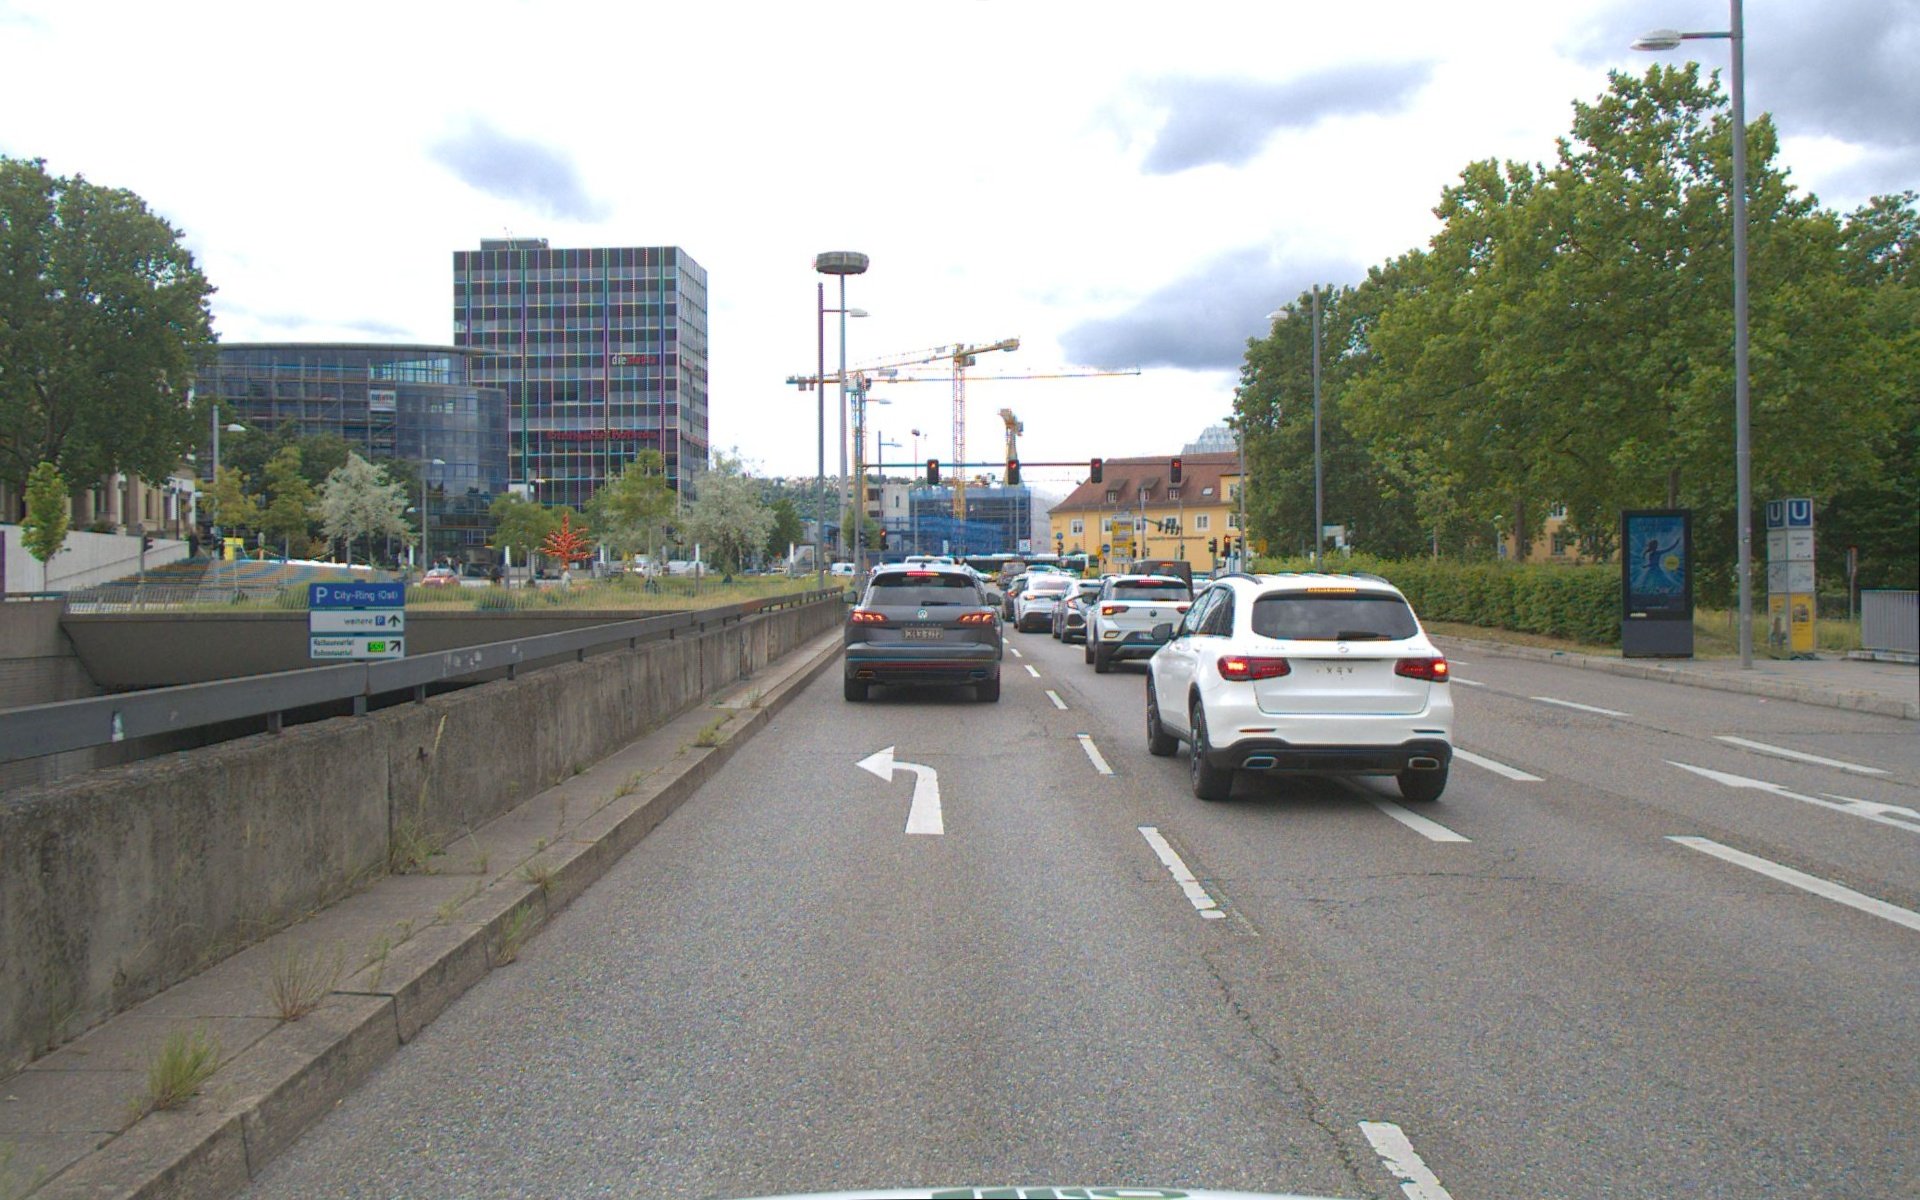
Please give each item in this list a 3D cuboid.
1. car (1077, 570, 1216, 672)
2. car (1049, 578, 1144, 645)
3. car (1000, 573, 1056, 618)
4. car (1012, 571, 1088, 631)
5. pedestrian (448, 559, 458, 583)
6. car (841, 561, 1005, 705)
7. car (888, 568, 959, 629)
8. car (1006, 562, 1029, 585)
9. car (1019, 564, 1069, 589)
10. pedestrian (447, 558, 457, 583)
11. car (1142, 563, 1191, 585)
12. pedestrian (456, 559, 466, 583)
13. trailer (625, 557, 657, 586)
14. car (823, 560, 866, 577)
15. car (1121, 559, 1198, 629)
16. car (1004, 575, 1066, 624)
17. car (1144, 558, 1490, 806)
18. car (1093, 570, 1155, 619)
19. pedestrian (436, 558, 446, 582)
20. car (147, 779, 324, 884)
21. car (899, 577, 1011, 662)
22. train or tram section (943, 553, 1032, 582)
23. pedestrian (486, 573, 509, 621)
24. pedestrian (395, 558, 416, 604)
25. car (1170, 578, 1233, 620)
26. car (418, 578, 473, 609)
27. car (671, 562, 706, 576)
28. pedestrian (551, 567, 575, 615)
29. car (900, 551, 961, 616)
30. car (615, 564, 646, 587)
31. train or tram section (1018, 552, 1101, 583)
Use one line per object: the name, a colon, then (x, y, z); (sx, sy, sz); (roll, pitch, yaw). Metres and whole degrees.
car: (3.072, 0.321, 28.147); (1.887, 1.578, 4.490); (1, 0, 0)
car: (3.134, 0.237, 38.775); (1.887, 1.457, 4.490); (1, 0, 0)
car: (2.452, -0.173, 60.597); (1.887, 1.556, 4.048); (1, 0, 0)
car: (2.417, 0.016, 45.488); (1.887, 1.556, 4.490); (1, 0, 0)
pedestrian: (-44.013, -2.530, 143.651); (0.728, 2.048, 0.788); (-1, 2, -21)
car: (-0.462, 0.355, 21.345); (1.912, 1.680, 3.999); (0, 1, -1)
car: (-1.050, -0.077, 47.457); (1.912, 1.627, 3.930); (2, 1, -1)
car: (4.440, -2.041, 127.890); (1.586, 1.656, 4.000); (2, 0, 0)
car: (7.439, -2.068, 146.556); (3.916, 2.049, 1.994); (1, -1, 33)
pedestrian: (-43.505, -2.529, 141.613); (0.728, 2.048, 0.788); (-1, 2, -21)
car: (20.406, -2.540, 163.590); (4.367, 2.049, 1.994); (1, -1, 33)
pedestrian: (-43.182, -2.500, 143.136); (0.728, 2.048, 1.108); (-1, 2, -21)
trailer: (-30.143, -2.690, 156.582); (1.996, 2.650, 5.508); (2, 2, -1)
car: (-11.504, -3.126, 164.525); (4.029, 1.638, 1.823); (1, -1, 35)
car: (6.184, -0.190, 51.648); (1.871, 2.049, 4.012); (2, 0, 0)
car: (2.431, -0.028, 54.309); (1.887, 1.556, 4.048); (1, 0, 0)
car: (2.680, 0.540, 13.504); (1.887, 1.682, 4.490); (0, 0, 0)
car: (6.047, -0.207, 61.312); (1.871, 1.726, 4.012); (2, 0, 0)
pedestrian: (-44.332, -2.540, 141.392); (0.728, 2.048, 1.108); (-1, 2, -21)
car: (-17.211, 5.454, 39.625); (1.954, 1.667, 5.247); (-6, -1, -2)
car: (-0.124, 0.315, 30.671); (1.912, 1.408, 3.930); (2, 1, -1)
train or tram section: (2.931, -3.591, 180.697); (10.226, 3.062, 2.585); (1, -1, 37)
pedestrian: (-19.935, -0.142, 71.237); (0.781, 2.048, 0.829); (-1, 2, -28)
pedestrian: (-25.246, -0.868, 75.317); (0.716, 2.047, 0.628); (-1, 5, -8)
car: (9.093, -0.045, 62.449); (1.722, 1.472, 3.632); (2, 0, -2)
car: (-32.024, -0.438, 103.070); (2.131, 1.887, 4.734); (0, 1, -2)
car: (-33.070, -3.741, 201.342); (3.908, 1.596, 1.835); (1, -1, 25)
pedestrian: (-17.085, -0.397, 71.191); (0.842, 2.048, 0.629); (-1, 2, -2)
car: (-0.982, -0.556, 54.930); (1.912, 2.053, 3.930); (2, 1, -1)
car: (-30.164, -2.261, 151.506); (1.953, 2.048, 4.693); (0, 2, 0)
train or tram section: (10.517, -3.469, 174.946); (8.776, 3.062, 2.585); (1, -1, 38)
